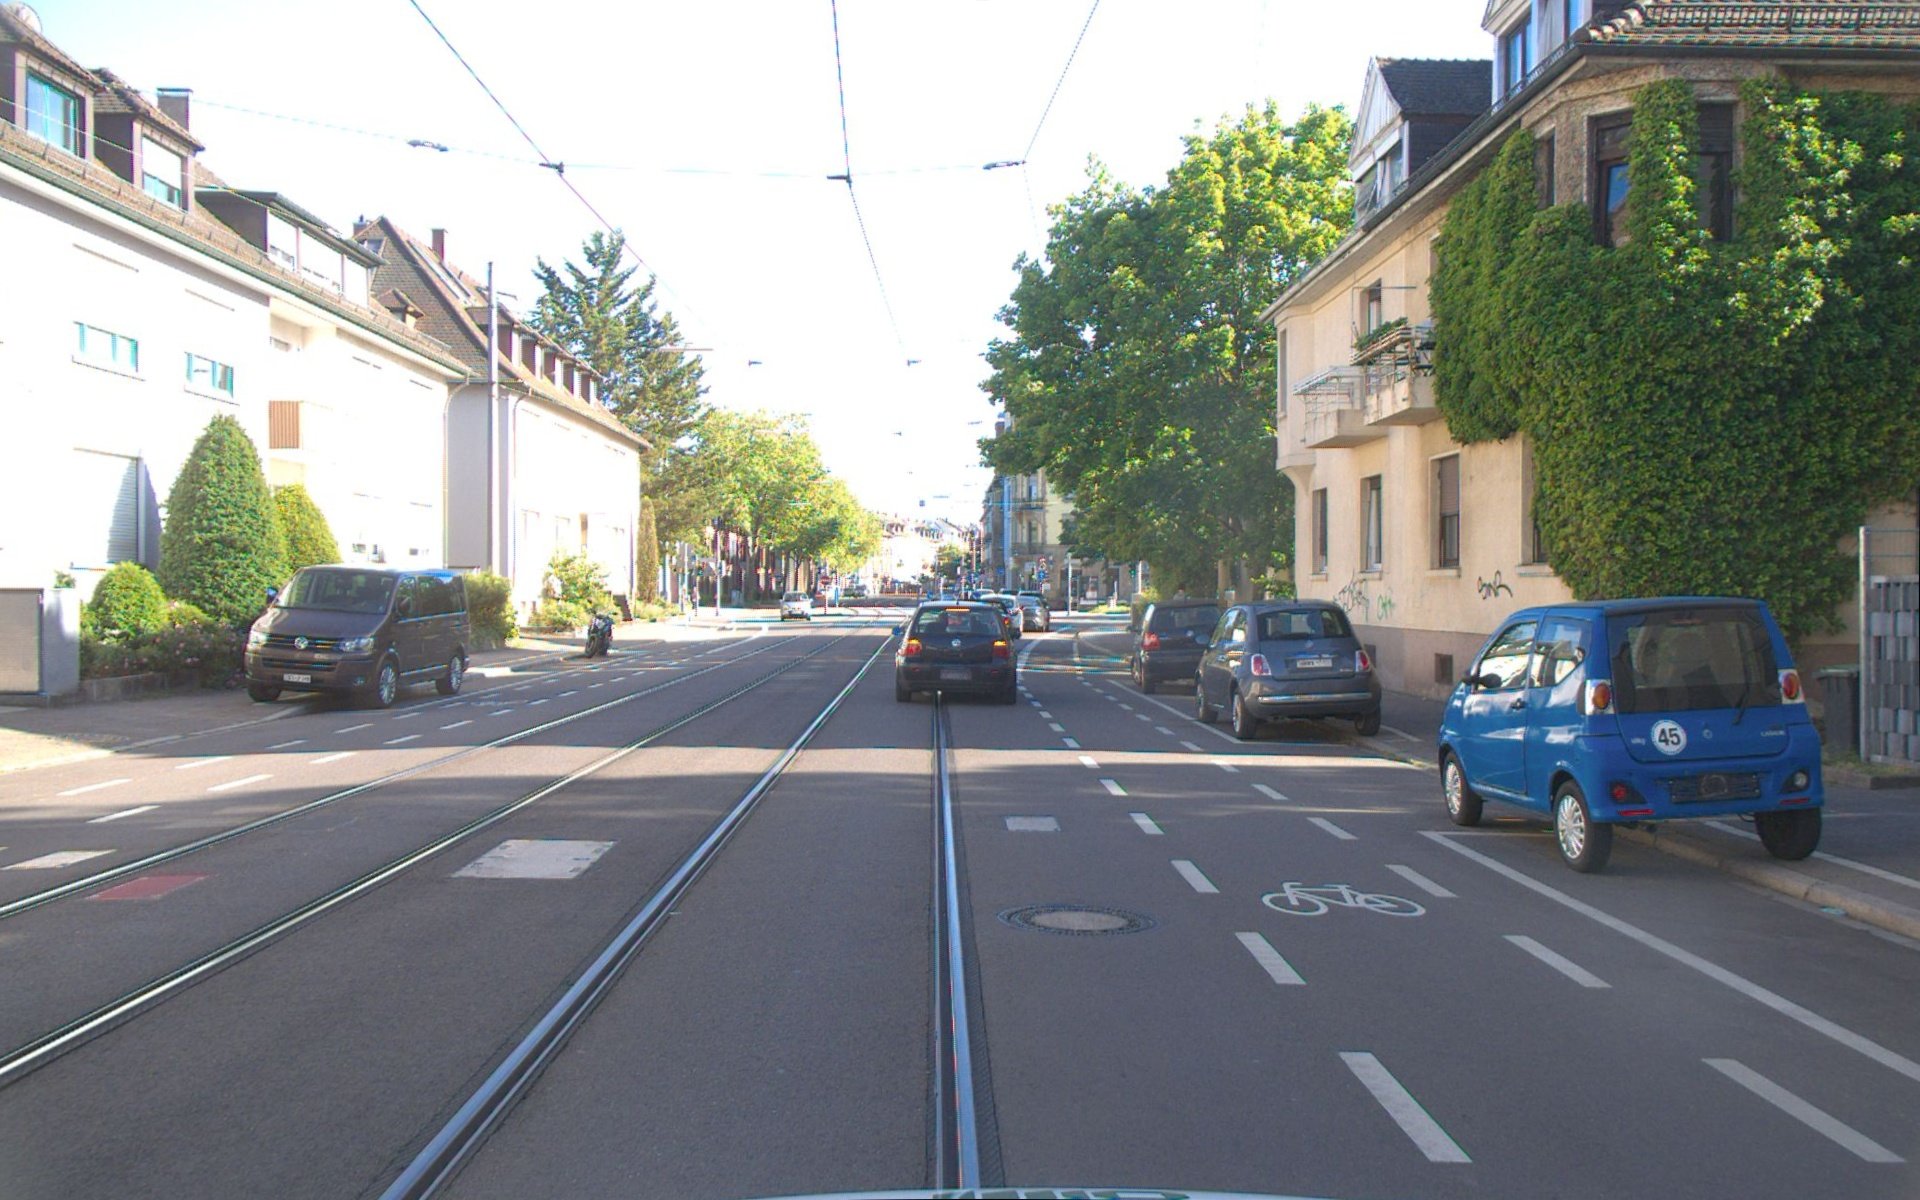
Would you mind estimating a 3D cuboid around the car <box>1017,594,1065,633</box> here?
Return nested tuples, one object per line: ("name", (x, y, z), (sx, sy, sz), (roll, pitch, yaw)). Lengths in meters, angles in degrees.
("car", (3.147, 0.499, 64.903), (1.538, 1.334, 3.646), (0, 3, -3))

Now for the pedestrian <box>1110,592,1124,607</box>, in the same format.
("pedestrian", (12.480, -0.030, 131.486), (0.960, 1.208, 0.743), (0, 0, -2))

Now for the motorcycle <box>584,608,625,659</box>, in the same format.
("motorcycle", (-8.627, 0.799, 40.223), (0.525, 1.183, 2.171), (-2, 0, -1))

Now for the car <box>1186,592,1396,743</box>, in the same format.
("car", (3.775, 0.715, 19.431), (1.569, 1.552, 3.547), (2, 0, -3))

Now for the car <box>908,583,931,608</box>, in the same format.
("car", (-3.279, -0.400, 133.457), (1.751, 1.892, 3.998), (3, 0, -3))

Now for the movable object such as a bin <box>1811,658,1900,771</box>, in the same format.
("movable object such as a bin", (7.751, 0.984, 14.327), (0.483, 0.932, 0.514), (0, 0, -3))

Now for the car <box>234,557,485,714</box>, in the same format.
("car", (-8.736, 0.456, 24.579), (1.867, 2.049, 4.949), (2, 0, 0))

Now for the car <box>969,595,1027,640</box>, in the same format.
("car", (1.331, 0.560, 56.329), (1.703, 1.466, 3.812), (0, 0, 5))

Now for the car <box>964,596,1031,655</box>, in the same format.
("car", (0.916, 0.618, 41.956), (1.601, 1.396, 3.757), (0, 0, 0))

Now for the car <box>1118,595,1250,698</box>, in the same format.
("car", (3.706, 0.735, 27.916), (1.632, 1.591, 3.770), (1, 0, -1))

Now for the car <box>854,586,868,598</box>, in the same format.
("car", (-15.015, -1.189, 251.291), (1.933, 1.847, 4.292), (0, 0, -5))

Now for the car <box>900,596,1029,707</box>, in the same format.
("car", (0.035, 0.679, 24.050), (1.681, 1.427, 4.005), (2, 0, -1))

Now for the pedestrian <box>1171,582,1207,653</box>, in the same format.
("pedestrian", (5.615, 0.419, 40.605), (0.703, 1.717, 0.870), (-1, 0, -2))

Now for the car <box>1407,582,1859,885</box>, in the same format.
("car", (4.144, 0.724, 10.716), (1.428, 1.627, 3.292), (2, 0, -3))

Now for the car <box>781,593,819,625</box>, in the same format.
("car", (-7.896, 0.438, 81.928), (1.543, 1.503, 3.440), (-1, 0, -1))

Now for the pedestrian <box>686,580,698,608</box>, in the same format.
("pedestrian", (-17.411, -0.386, 107.312), (0.600, 1.719, 0.729), (3, 0, -19))
